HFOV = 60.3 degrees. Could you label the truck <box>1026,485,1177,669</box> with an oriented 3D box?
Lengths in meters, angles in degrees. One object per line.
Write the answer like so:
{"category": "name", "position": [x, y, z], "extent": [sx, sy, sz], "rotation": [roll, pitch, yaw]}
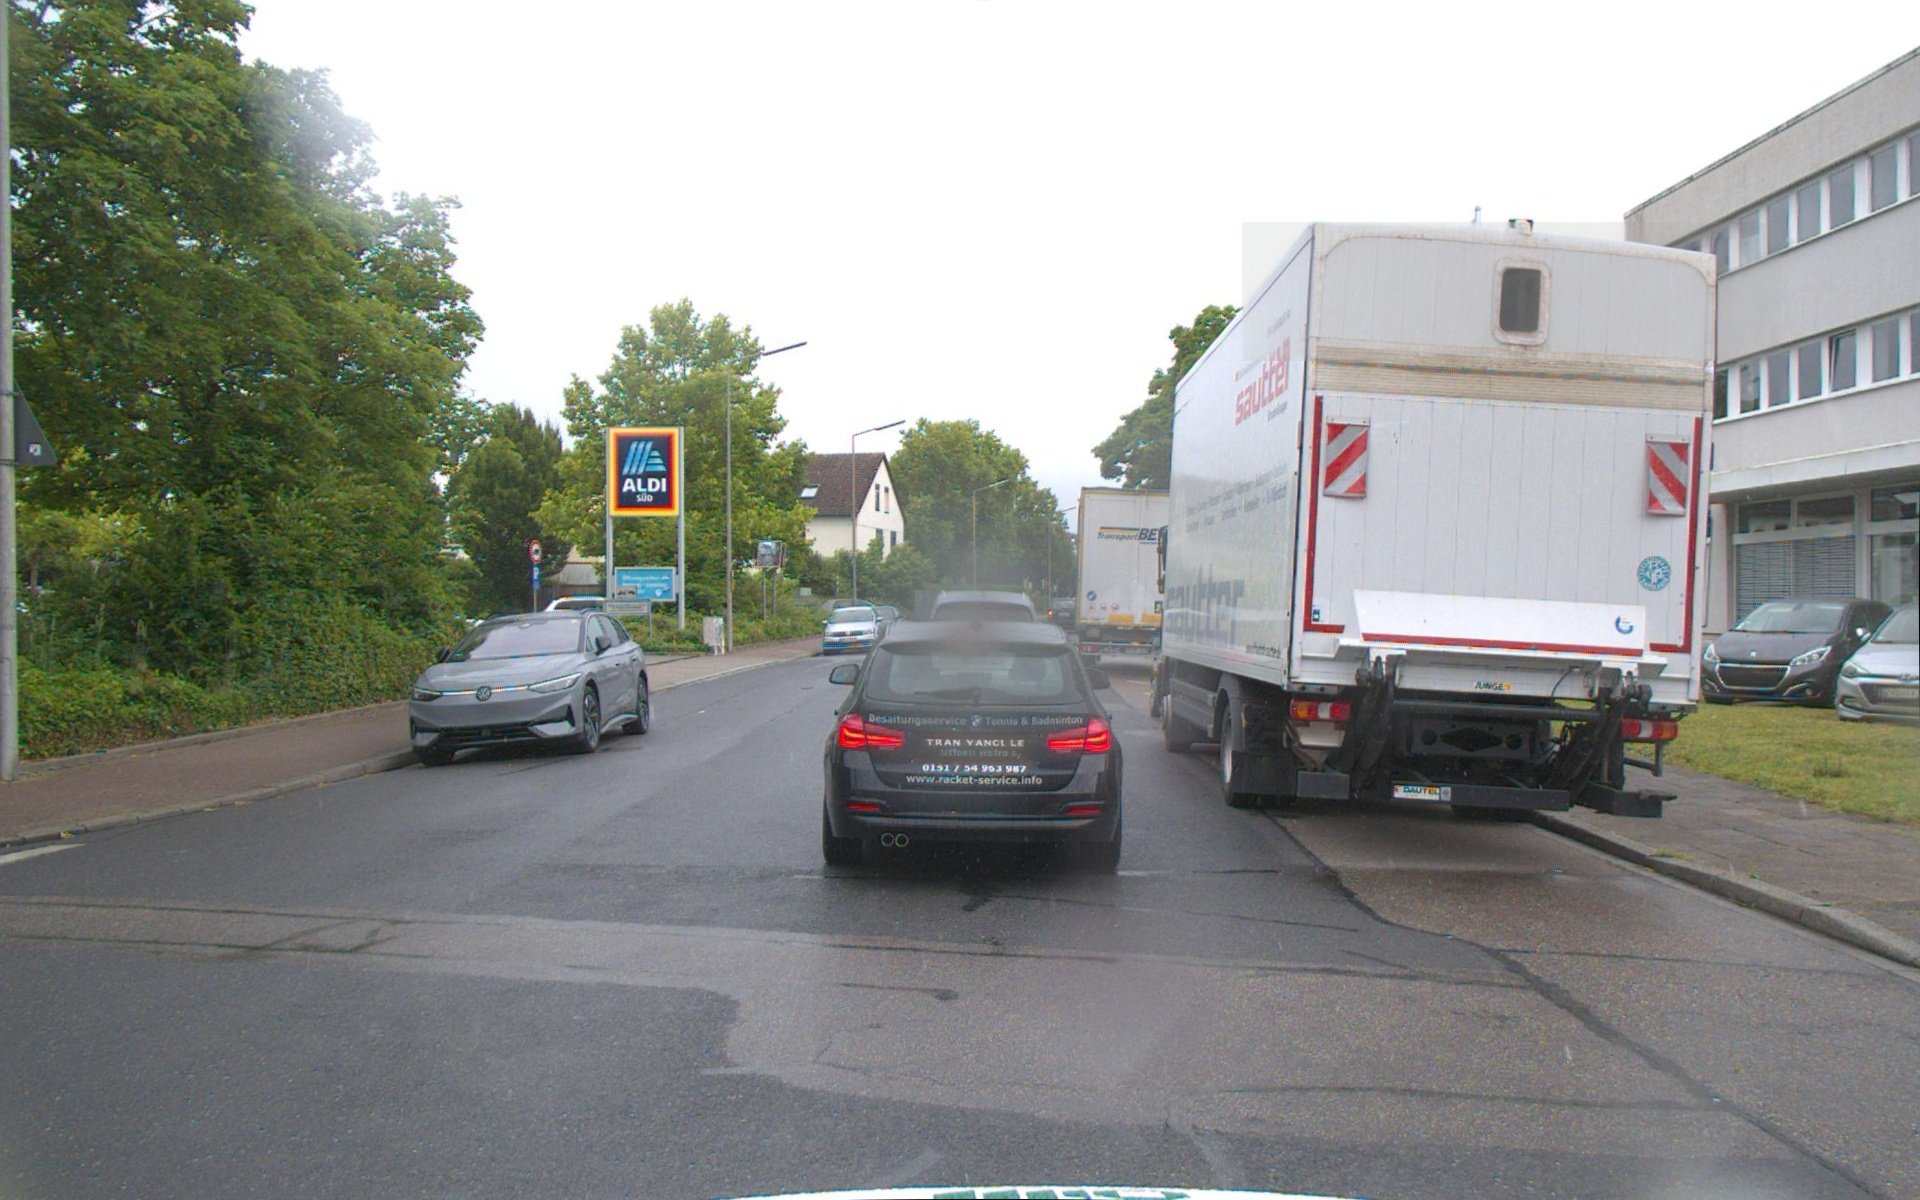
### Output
{"category": "truck", "position": [3.063, -0.465, 37.818], "extent": [2.685, 3.674, 7.749], "rotation": [2, 0, 0]}

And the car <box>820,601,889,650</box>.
{"category": "car", "position": [-3.273, 0.781, 52.164], "extent": [1.670, 1.391, 4.602], "rotation": [-2, 0, 2]}

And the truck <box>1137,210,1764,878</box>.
{"category": "truck", "position": [3.414, -0.332, 14.474], "extent": [2.685, 3.855, 9.299], "rotation": [2, 0, 1]}

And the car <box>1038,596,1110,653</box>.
{"category": "car", "position": [3.543, 0.772, 52.084], "extent": [1.953, 1.713, 3.999], "rotation": [1, -1, -1]}

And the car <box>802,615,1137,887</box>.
{"category": "car", "position": [0.000, 0.821, 10.789], "extent": [1.768, 1.419, 3.998], "rotation": [1, 0, -2]}

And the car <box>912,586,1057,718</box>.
{"category": "car", "position": [0.253, 0.654, 22.321], "extent": [1.768, 1.614, 3.998], "rotation": [1, 0, -2]}

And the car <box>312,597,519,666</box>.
{"category": "car", "position": [-12.230, 0.703, 37.326], "extent": [4.106, 1.485, 1.711], "rotation": [1, 0, -3]}

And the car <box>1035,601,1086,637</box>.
{"category": "car", "position": [4.702, 0.866, 77.017], "extent": [1.766, 1.614, 4.003], "rotation": [1, 0, 12]}

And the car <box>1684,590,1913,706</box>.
{"category": "car", "position": [11.334, 0.586, 22.249], "extent": [3.740, 1.417, 1.678], "rotation": [0, 0, -45]}

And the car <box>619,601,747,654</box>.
{"category": "car", "position": [-8.319, 0.812, 49.854], "extent": [3.495, 1.485, 1.713], "rotation": [2, 0, 2]}

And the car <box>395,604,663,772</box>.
{"category": "car", "position": [-4.735, 0.890, 18.923], "extent": [1.772, 1.555, 4.747], "rotation": [-4, 0, -1]}

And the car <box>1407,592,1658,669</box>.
{"category": "car", "position": [11.729, 0.596, 34.059], "extent": [4.586, 1.493, 1.783], "rotation": [0, 0, 38]}

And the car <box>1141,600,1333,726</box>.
{"category": "car", "position": [3.498, 0.744, 21.634], "extent": [1.760, 1.466, 4.344], "rotation": [0, 0, 0]}

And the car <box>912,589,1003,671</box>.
{"category": "car", "position": [-0.108, 0.619, 35.098], "extent": [1.768, 1.614, 3.998], "rotation": [1, 0, -2]}

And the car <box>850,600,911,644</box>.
{"category": "car", "position": [-2.752, 0.758, 58.179], "extent": [1.670, 1.391, 3.840], "rotation": [-2, 0, 4]}

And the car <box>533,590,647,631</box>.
{"category": "car", "position": [-14.182, 0.397, 63.549], "extent": [3.904, 1.567, 1.911], "rotation": [0, 0, 1]}

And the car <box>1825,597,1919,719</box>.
{"category": "car", "position": [11.673, 0.622, 19.329], "extent": [3.971, 1.309, 1.678], "rotation": [0, 0, -45]}

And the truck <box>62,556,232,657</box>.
{"category": "truck", "position": [-24.132, 0.190, 49.439], "extent": [1.953, 2.801, 6.466], "rotation": [0, 0, -1]}
